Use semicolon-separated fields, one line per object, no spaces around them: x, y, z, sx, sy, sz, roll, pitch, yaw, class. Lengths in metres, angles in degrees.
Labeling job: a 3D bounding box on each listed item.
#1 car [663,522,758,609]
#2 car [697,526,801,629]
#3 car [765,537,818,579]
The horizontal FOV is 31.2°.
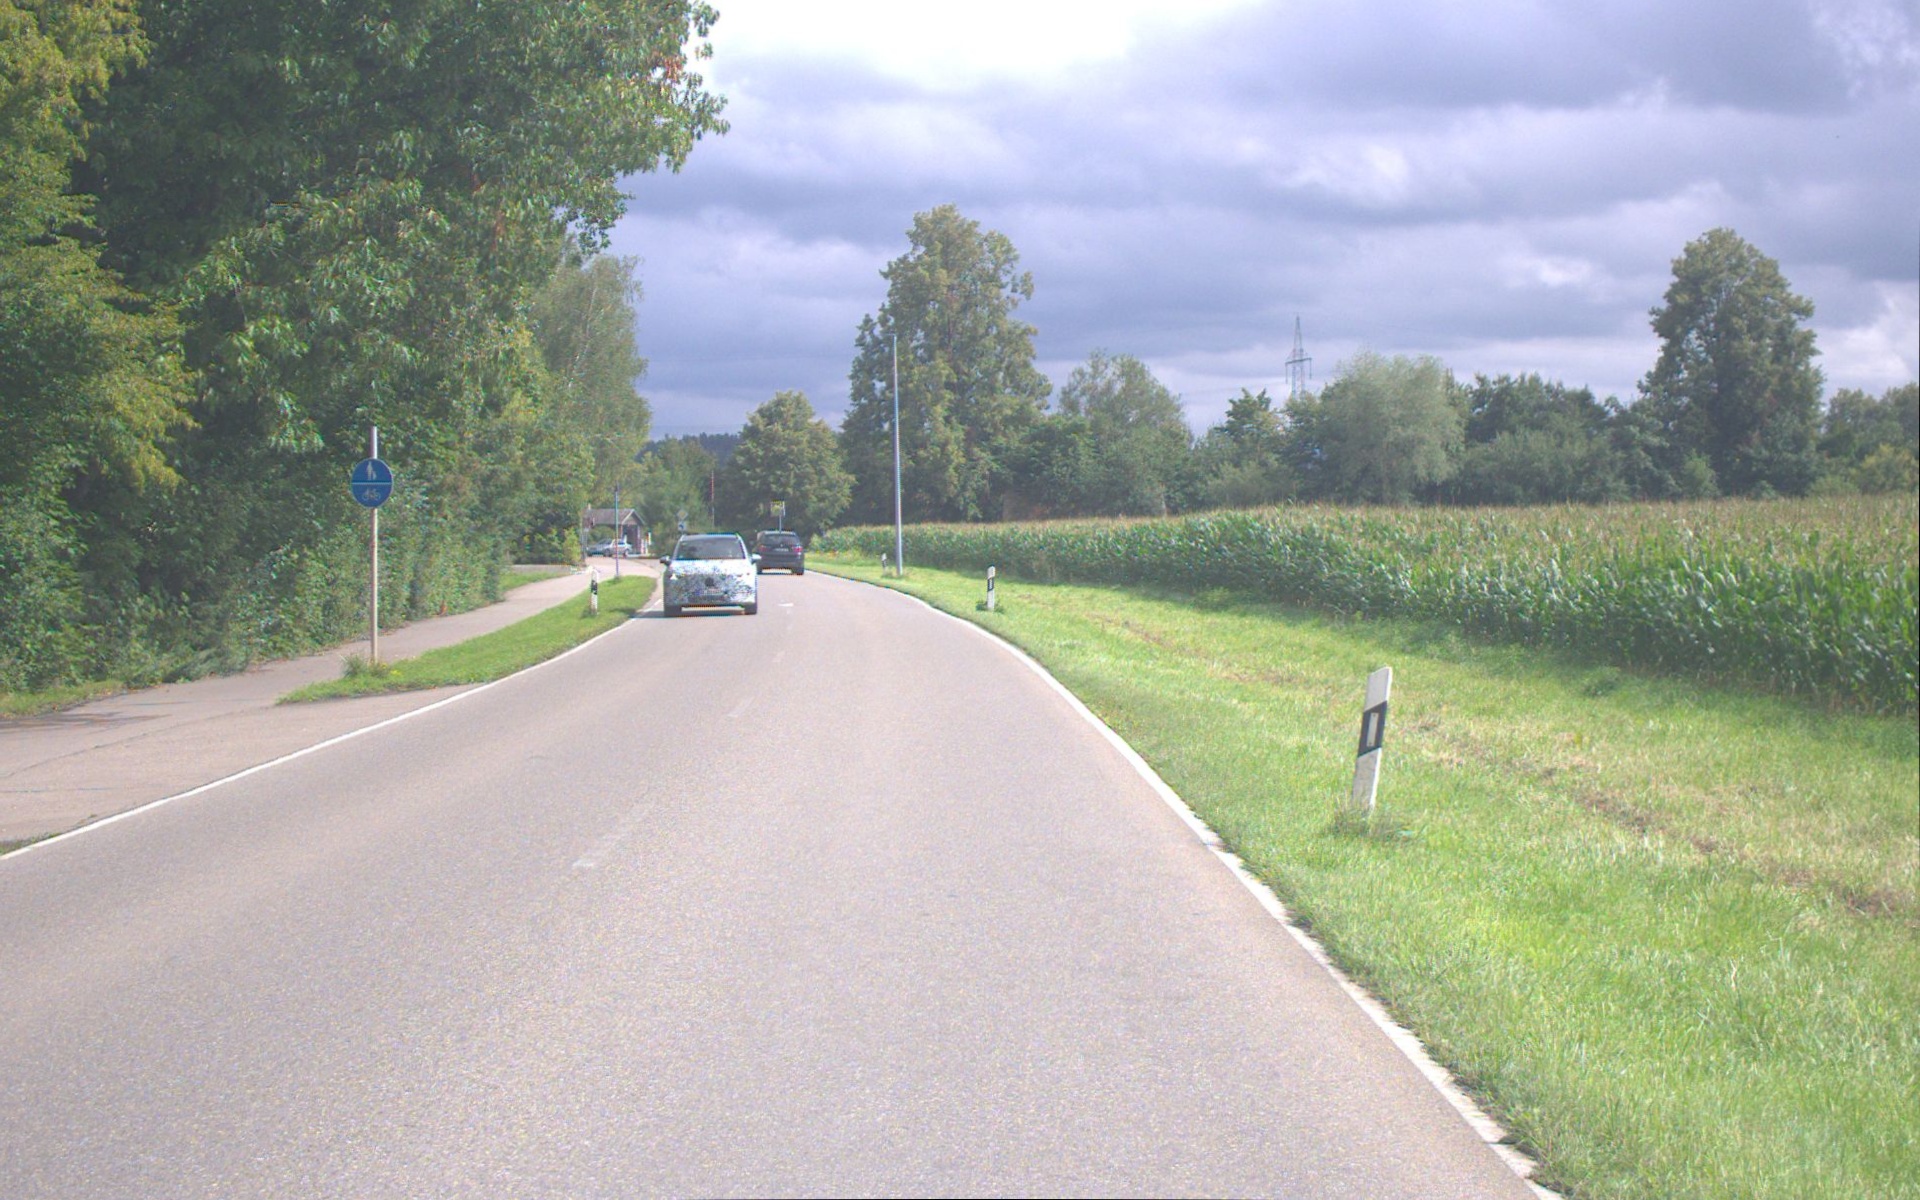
-5.095;-0.738;70.722;1.811;1.645;4.293;-2;1;-3;car
-4.383;-0.468;70.837;1.993;2.007;4.001;1;1;-5;car
-6.498;-1.622;132.783;1.993;1.579;4.000;1;1;-2;car
